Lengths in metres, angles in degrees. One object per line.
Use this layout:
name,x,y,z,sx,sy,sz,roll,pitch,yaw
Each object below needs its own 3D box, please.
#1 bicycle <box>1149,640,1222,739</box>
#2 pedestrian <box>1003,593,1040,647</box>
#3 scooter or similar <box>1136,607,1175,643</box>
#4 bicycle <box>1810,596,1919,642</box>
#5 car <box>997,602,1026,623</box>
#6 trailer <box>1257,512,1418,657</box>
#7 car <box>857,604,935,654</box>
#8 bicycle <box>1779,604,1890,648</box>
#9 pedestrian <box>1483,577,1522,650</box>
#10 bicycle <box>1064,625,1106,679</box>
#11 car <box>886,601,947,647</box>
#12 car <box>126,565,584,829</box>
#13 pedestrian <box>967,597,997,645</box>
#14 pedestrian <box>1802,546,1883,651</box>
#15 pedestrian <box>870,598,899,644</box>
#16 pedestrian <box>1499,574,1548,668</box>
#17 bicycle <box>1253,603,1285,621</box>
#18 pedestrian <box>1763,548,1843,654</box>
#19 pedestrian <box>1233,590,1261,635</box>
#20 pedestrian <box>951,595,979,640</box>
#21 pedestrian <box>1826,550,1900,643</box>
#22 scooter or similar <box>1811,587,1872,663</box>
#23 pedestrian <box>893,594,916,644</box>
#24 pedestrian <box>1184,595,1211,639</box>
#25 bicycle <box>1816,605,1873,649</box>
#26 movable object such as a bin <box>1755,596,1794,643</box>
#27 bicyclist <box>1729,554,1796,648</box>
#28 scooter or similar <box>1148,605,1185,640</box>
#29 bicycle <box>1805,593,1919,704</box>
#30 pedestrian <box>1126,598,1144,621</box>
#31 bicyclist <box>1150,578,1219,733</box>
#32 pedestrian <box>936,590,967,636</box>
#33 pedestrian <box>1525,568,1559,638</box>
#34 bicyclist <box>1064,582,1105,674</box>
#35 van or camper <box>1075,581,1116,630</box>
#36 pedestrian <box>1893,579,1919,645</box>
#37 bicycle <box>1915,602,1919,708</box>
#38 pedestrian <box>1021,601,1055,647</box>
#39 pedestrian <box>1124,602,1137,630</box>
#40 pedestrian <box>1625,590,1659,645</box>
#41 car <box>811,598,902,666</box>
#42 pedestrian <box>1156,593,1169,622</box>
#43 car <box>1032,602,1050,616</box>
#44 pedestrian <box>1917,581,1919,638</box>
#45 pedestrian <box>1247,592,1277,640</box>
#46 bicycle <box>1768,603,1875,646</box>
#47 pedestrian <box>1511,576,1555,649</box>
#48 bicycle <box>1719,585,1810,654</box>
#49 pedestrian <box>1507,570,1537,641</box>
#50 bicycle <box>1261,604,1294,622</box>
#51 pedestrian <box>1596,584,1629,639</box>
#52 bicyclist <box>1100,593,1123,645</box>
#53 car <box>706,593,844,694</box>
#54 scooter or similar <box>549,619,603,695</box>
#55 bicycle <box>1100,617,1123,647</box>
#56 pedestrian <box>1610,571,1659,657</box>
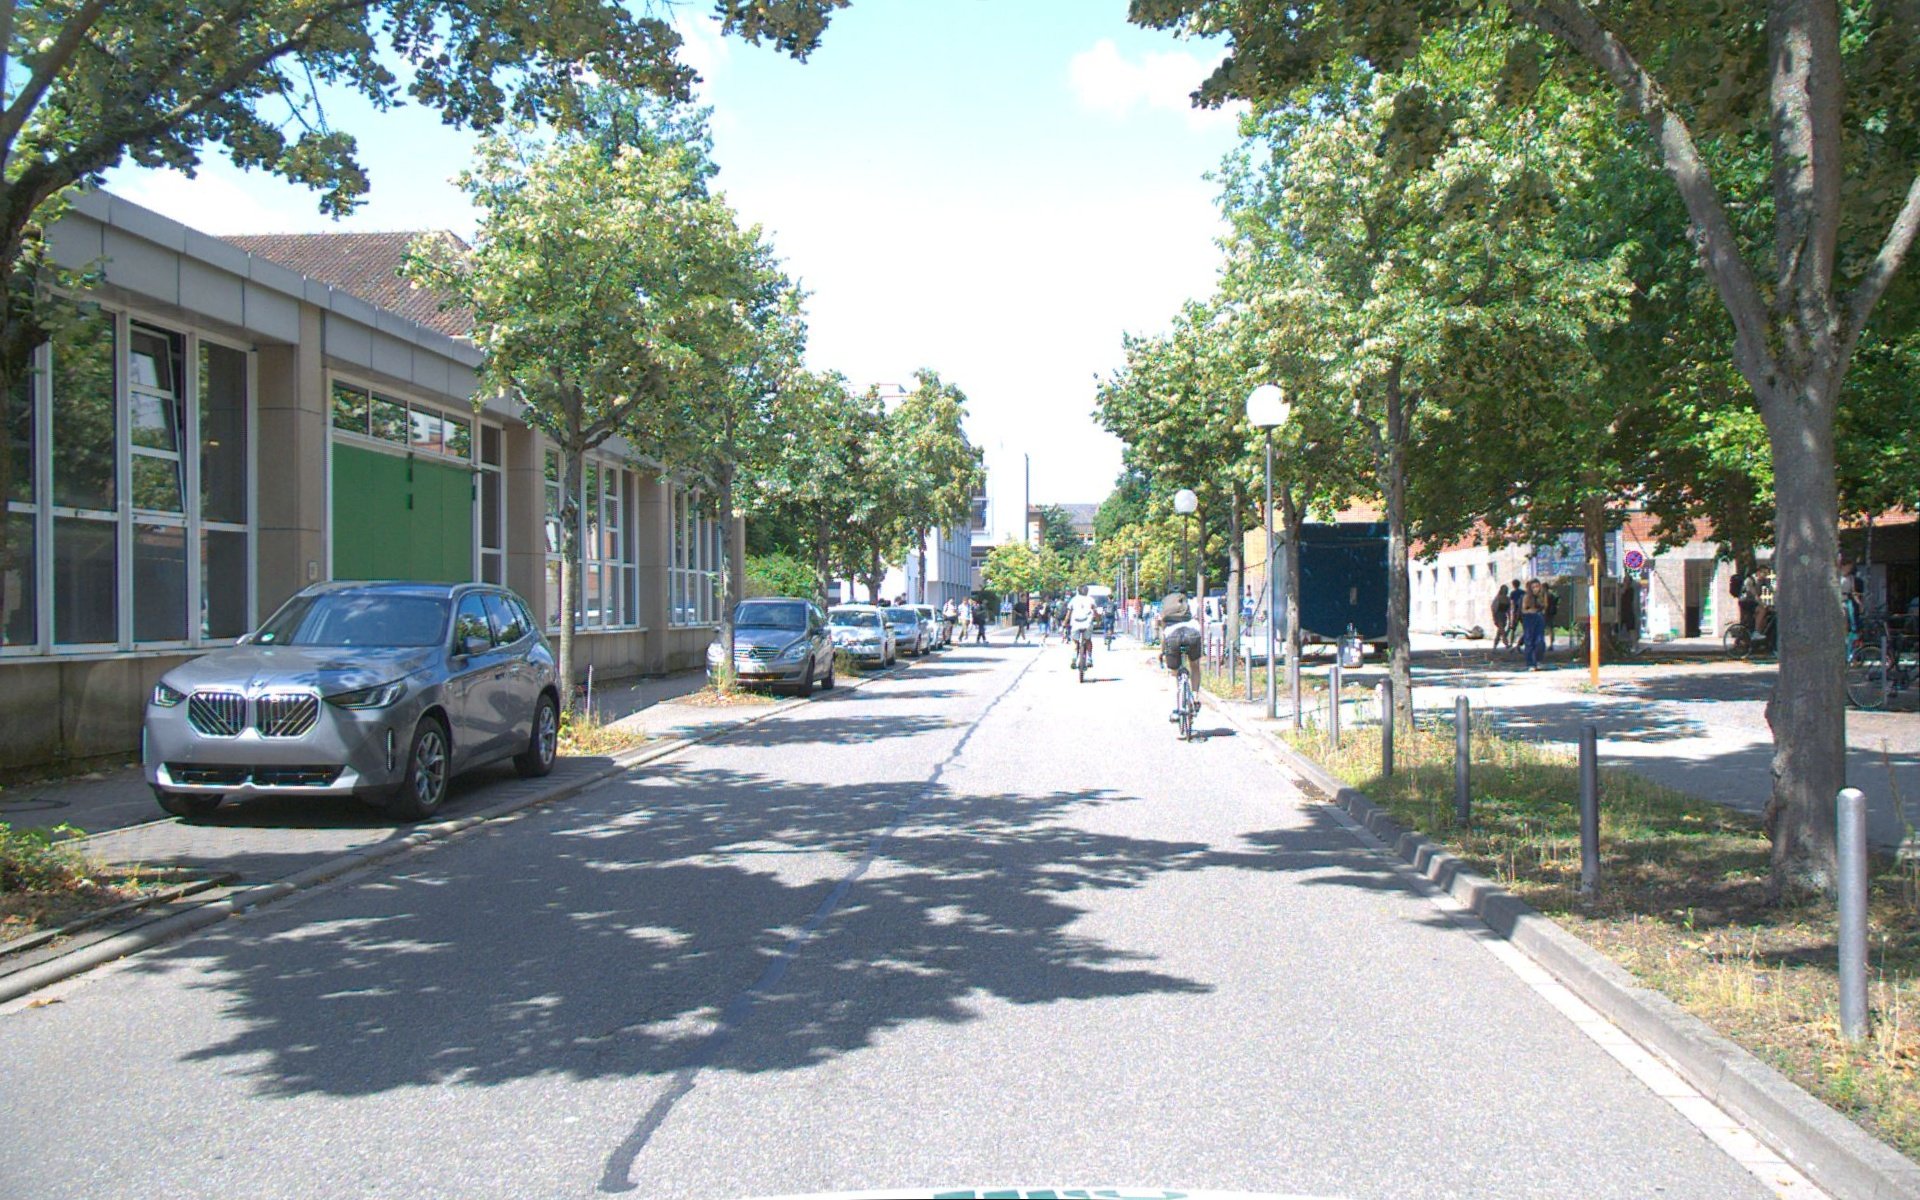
bicycle,2.507,0.979,18.523,0.691,1.010,1.911,-1,-1,5
pedestrian,2.269,0.736,61.399,0.846,1.891,1.102,-3,6,-37
scooter or similar,7.126,0.925,60.408,1.239,1.287,0.648,-1,0,36
bicycle,22.272,0.462,40.672,2.346,1.090,0.783,1,-1,16
car,3.929,0.912,125.911,1.757,1.557,4.003,-1,0,8
trailer,8.885,-0.329,39.620,2.635,3.105,6.259,-2,0,3
car,-1.807,0.813,48.238,1.688,1.367,4.168,1,0,6
bicycle,22.099,0.653,41.842,2.345,1.090,0.783,-1,-1,11
pedestrian,12.928,0.318,39.412,0.682,1.690,0.788,-1,-1,4
bicycle,2.501,1.023,32.889,0.791,1.020,2.125,-1,0,5
car,-1.393,0.759,54.473,1.627,1.436,3.809,1,0,4
car,-4.432,0.639,12.966,1.784,1.661,4.518,1,0,2
pedestrian,0.831,0.790,62.495,0.969,1.750,0.704,0,-4,12
pedestrian,17.183,-0.022,32.237,0.819,1.983,1.074,-2,0,-16
pedestrian,-3.072,0.832,67.141,0.786,1.803,0.853,4,2,30
pedestrian,9.920,0.370,29.128,0.556,1.599,0.928,-2,-1,4
bicycle,18.713,0.742,100.204,1.771,1.002,0.560,-2,0,3
pedestrian,16.281,0.015,31.965,0.819,1.983,1.074,-2,0,-16
pedestrian,12.007,0.521,69.291,0.701,1.817,0.745,-8,4,-29
pedestrian,0.196,0.682,64.905,0.892,1.769,0.674,0,0,42
pedestrian,17.986,-0.082,32.957,0.939,1.806,0.919,-1,0,-4
scooter or similar,14.876,0.419,27.939,0.415,1.240,1.295,-1,-1,5
pedestrian,-2.270,0.770,67.739,0.609,2.015,0.821,-1,-2,-27
pedestrian,9.748,0.674,67.877,0.938,1.723,0.705,3,2,14
bicycle,23.696,0.713,44.328,0.561,1.160,2.027,0,0,4
movable object such as a bin,19.429,0.475,39.458,0.586,1.090,0.743,-1,-2,5
bicyclist,15.415,0.027,31.770,0.521,1.759,1.074,-2,0,-16
scooter or similar,7.734,0.860,61.970,1.239,1.287,0.637,-1,0,36
bicycle,10.602,0.524,18.544,1.976,1.187,0.651,-1,0,-8
pedestrian,16.294,0.916,154.350,1.468,2.031,1.647,-3,0,2
bicyclist,2.517,0.609,18.617,0.702,1.691,1.096,0,0,4
pedestrian,-0.336,0.495,64.382,0.966,1.770,0.696,0,-2,42
pedestrian,15.436,0.071,43.851,0.582,1.828,0.728,-3,1,1
bicyclist,2.480,0.548,32.845,0.754,1.787,0.849,2,0,5
van or camper,7.276,0.321,88.711,1.951,2.488,4.573,-1,-1,7
pedestrian,20.537,0.254,35.487,0.558,1.370,0.729,-3,0,0
bicycle,10.894,0.554,17.097,1.907,1.101,0.404,-1,0,-8
pedestrian,2.772,0.850,58.980,0.842,1.623,0.819,-2,0,-39
pedestrian,11.479,1.078,111.376,0.773,1.892,1.026,-1,0,5
pedestrian,20.708,0.532,50.214,0.645,1.635,0.679,-1,-1,-11
car,-2.424,0.737,39.663,1.689,1.482,4.584,1,0,2
pedestrian,13.418,0.506,109.662,0.773,1.892,1.026,-1,0,5
car,9.419,1.080,192.324,1.757,1.557,4.003,-1,0,8
pedestrian,20.594,0.264,34.691,0.558,1.370,0.729,-3,0,0
pedestrian,11.076,0.573,60.644,0.857,1.666,0.949,-5,0,5
bicycle,22.242,0.635,42.749,2.346,1.090,0.783,-1,-1,17
pedestrian,13.624,0.295,39.347,0.749,1.690,0.824,-1,-1,4
bicycle,15.429,0.367,31.769,0.521,1.274,1.730,-2,0,-16
pedestrian,14.764,0.136,43.476,0.582,1.828,0.407,-2,1,1
bicycle,18.477,0.749,96.338,1.771,1.002,0.560,-2,0,3
pedestrian,19.796,0.358,50.171,0.645,1.635,0.679,-1,-1,-11
bicyclist,5.251,0.649,57.369,0.791,1.787,0.693,0,-1,5
car,-3.122,0.706,28.656,1.721,1.583,4.114,1,0,2
scooter or similar,-6.217,0.909,26.830,0.495,1.189,1.216,1,0,4
bicycle,5.243,1.102,57.337,0.791,1.020,2.125,0,-1,5
pedestrian,15.062,0.305,36.954,0.749,1.887,0.824,-1,-1,4
